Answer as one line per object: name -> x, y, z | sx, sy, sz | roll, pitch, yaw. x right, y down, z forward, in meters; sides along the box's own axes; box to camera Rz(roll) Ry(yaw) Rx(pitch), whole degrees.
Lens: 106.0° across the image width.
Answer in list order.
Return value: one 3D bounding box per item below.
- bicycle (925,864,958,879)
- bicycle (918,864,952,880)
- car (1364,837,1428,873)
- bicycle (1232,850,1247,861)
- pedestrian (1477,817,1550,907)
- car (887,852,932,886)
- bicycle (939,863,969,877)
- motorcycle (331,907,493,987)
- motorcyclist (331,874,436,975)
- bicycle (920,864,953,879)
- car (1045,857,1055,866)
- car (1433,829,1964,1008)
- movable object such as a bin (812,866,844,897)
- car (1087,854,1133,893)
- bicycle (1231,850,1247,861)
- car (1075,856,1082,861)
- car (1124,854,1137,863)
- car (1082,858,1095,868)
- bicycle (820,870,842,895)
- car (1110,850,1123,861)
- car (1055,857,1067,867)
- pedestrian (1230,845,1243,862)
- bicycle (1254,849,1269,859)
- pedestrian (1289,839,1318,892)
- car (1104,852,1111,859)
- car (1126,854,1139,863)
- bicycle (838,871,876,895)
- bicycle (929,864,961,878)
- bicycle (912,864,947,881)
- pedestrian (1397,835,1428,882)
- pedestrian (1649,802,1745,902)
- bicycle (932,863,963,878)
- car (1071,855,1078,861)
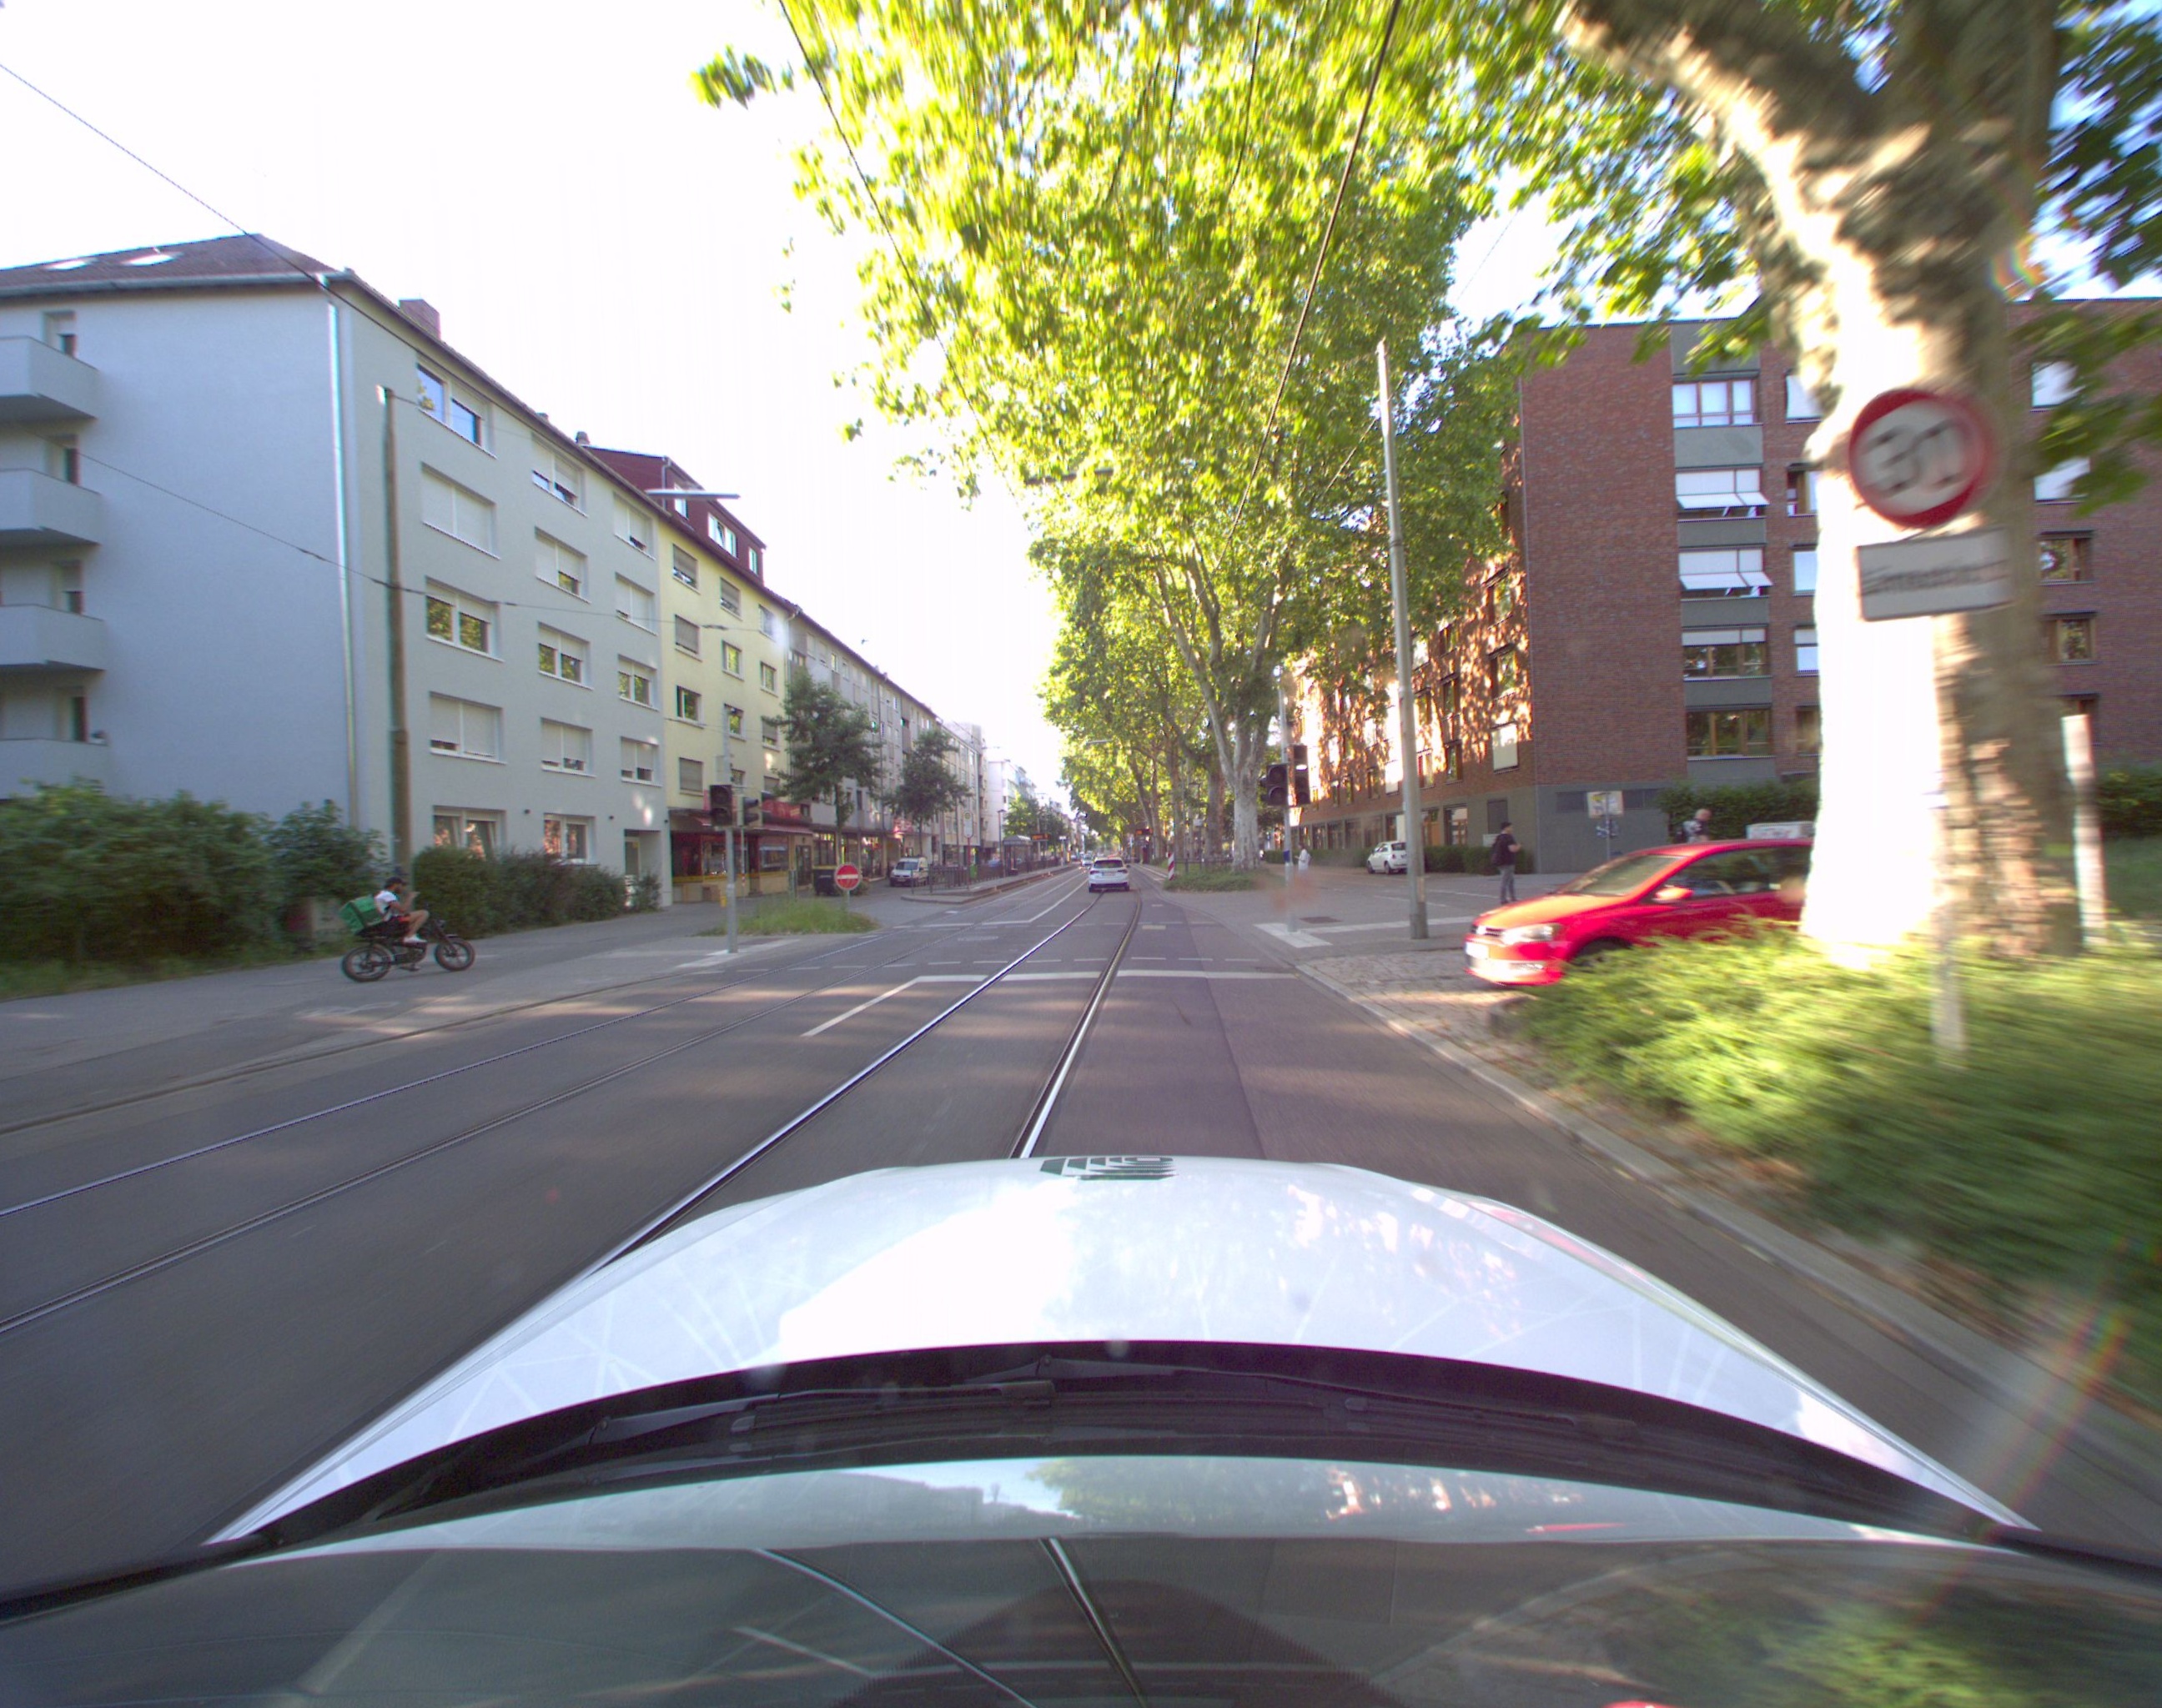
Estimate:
bicycle -> -10.302, 1.274, 60.103 | 2.243, 1.074, 0.637 | 1, 0, 3
bicycle -> -10.322, 1.287, 57.668 | 2.243, 1.074, 0.637 | 1, 0, 3
car -> 14.360, 0.041, 37.316 | 1.595, 1.495, 3.417 | -3, 0, 1
bicycle -> 17.203, 0.167, 88.412 | 1.552, 1.037, 0.507 | -3, 0, 23
pedestrian -> 9.150, 0.165, 17.267 | 0.992, 1.811, 0.863 | -3, 0, -3
car -> -10.506, 0.906, 50.094 | 1.681, 1.940, 4.002 | -3, 0, 2
bicycle -> -10.108, 1.296, 64.943 | 2.243, 1.074, 0.637 | 1, 0, 3
motorcycle -> -10.611, 1.441, 12.989 | 0.589, 1.032, 1.889 | -2, 0, 36
motorcyclist -> -10.847, 1.065, 12.689 | 0.589, 1.449, 1.111 | -2, 0, 36
bicycle -> -10.518, 1.262, 59.364 | 2.243, 1.074, 0.637 | 1, 0, 3
car -> -5.649, 1.303, 148.788 | 1.671, 1.548, 4.002 | 0, 0, 2
car -> 5.769, 0.587, 8.030 | 3.866, 1.423, 1.651 | -3, 0, 5
movable object such as a bin -> -11.413, 1.230, 36.814 | 1.167, 1.348, 0.782 | 1, 0, -2
car -> 1.251, 0.784, 35.037 | 1.781, 1.513, 4.002 | -2, 0, 2
bicycle -> 17.000, 0.171, 87.502 | 1.552, 1.037, 0.482 | -3, 0, 23
car -> -0.814, 1.553, 260.428 | 1.781, 1.513, 4.002 | -2, 0, 2
car -> 8.227, 0.741, 135.856 | 1.986, 1.453, 4.002 | -2, 0, 2
car -> 1.107, 1.327, 119.475 | 1.687, 1.419, 4.002 | -2, 0, 2
bicycle -> -11.724, 1.322, 38.224 | 0.497, 1.107, 1.799 | 1, 0, 0
car -> 5.007, 0.182, 114.592 | 1.781, 1.513, 4.002 | -2, 0, 2
car -> -3.164, 1.198, 129.121 | 1.671, 1.548, 4.002 | 0, 0, 2
pedestrian -> 15.120, -0.034, 79.195 | 0.968, 1.623, 0.888 | -3, 0, 2
bicycle -> 19.401, 0.034, 87.517 | 1.552, 1.037, 0.482 | -3, 0, 23
pedestrian -> 7.125, 0.367, 26.102 | 0.650, 1.669, 0.738 | -3, 0, 1
car -> 7.575, 0.317, 234.314 | 1.859, 1.892, 4.002 | -2, 0, 2
car -> 8.211, 0.724, 130.765 | 1.986, 1.453, 4.002 | -2, 0, 2
bicycle -> -10.679, 1.379, 38.866 | 1.528, 1.075, 0.886 | 1, 0, 1
bicycle -> -10.243, 1.276, 61.366 | 2.243, 1.074, 0.637 | 1, 0, 3
bicycle -> -10.433, 1.274, 56.022 | 2.243, 1.074, 0.637 | 1, 0, 3
pedestrian -> 12.176, 0.150, 29.935 | 0.733, 1.669, 0.835 | -3, 0, 1
pedestrian -> 12.371, -0.036, 16.384 | 0.980, 1.863, 1.015 | -6, 0, -3
bicycle -> -10.326, 1.284, 63.117 | 2.243, 1.074, 0.637 | 1, 0, 3
car -> -1.798, 1.082, 225.447 | 1.781, 1.513, 4.002 | -2, 0, 2
